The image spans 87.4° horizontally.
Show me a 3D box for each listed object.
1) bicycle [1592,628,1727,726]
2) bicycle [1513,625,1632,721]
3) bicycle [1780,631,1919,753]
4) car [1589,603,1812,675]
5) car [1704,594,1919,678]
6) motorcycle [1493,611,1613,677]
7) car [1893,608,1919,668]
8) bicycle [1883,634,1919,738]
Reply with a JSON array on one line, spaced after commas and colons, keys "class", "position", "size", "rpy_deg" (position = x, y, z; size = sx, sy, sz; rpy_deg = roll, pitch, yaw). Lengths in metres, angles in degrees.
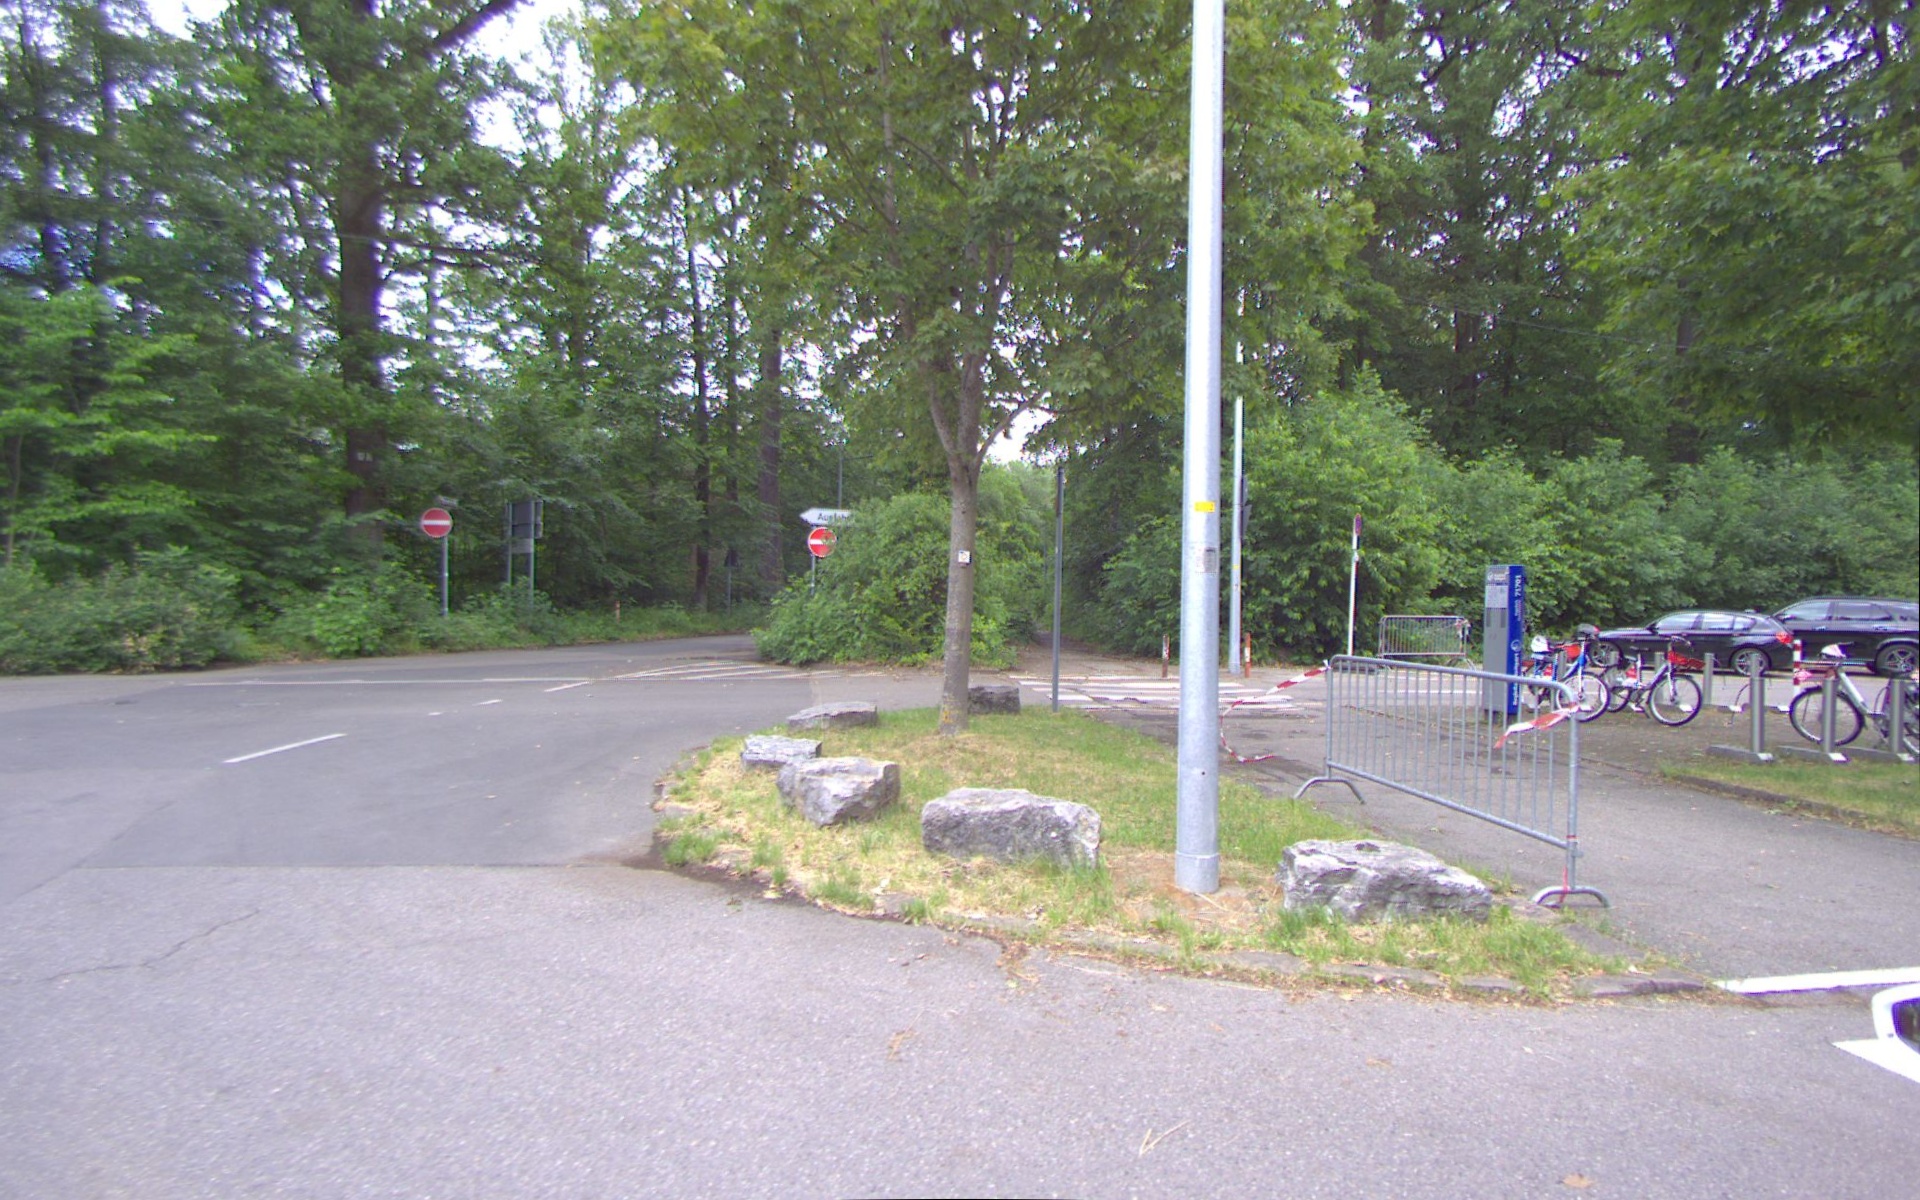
[{"class": "bicycle", "position": [9.097, 0.970, 13.146], "size": [0.496, 1.126, 1.684], "rpy_deg": [2, 1, -3]}, {"class": "bicycle", "position": [8.011, 0.921, 13.218], "size": [0.473, 1.126, 1.697], "rpy_deg": [2, 1, -1]}, {"class": "bicycle", "position": [9.575, 0.931, 10.500], "size": [0.473, 1.126, 1.683], "rpy_deg": [1, 1, -6]}, {"class": "car", "position": [16.767, 0.823, 22.923], "size": [3.935, 1.394, 1.733], "rpy_deg": [2, 1, 37]}, {"class": "car", "position": [20.439, 0.799, 23.663], "size": [4.633, 1.790, 2.104], "rpy_deg": [1, 1, 37]}, {"class": "motorcycle", "position": [12.260, 0.882, 20.821], "size": [0.726, 1.224, 2.003], "rpy_deg": [1, 1, -43]}, {"class": "car", "position": [26.324, 1.009, 25.272], "size": [3.935, 1.531, 1.863], "rpy_deg": [1, 1, 37]}, {"class": "bicycle", "position": [10.803, 0.963, 10.515], "size": [0.473, 1.126, 1.787], "rpy_deg": [1, 1, -6]}]
